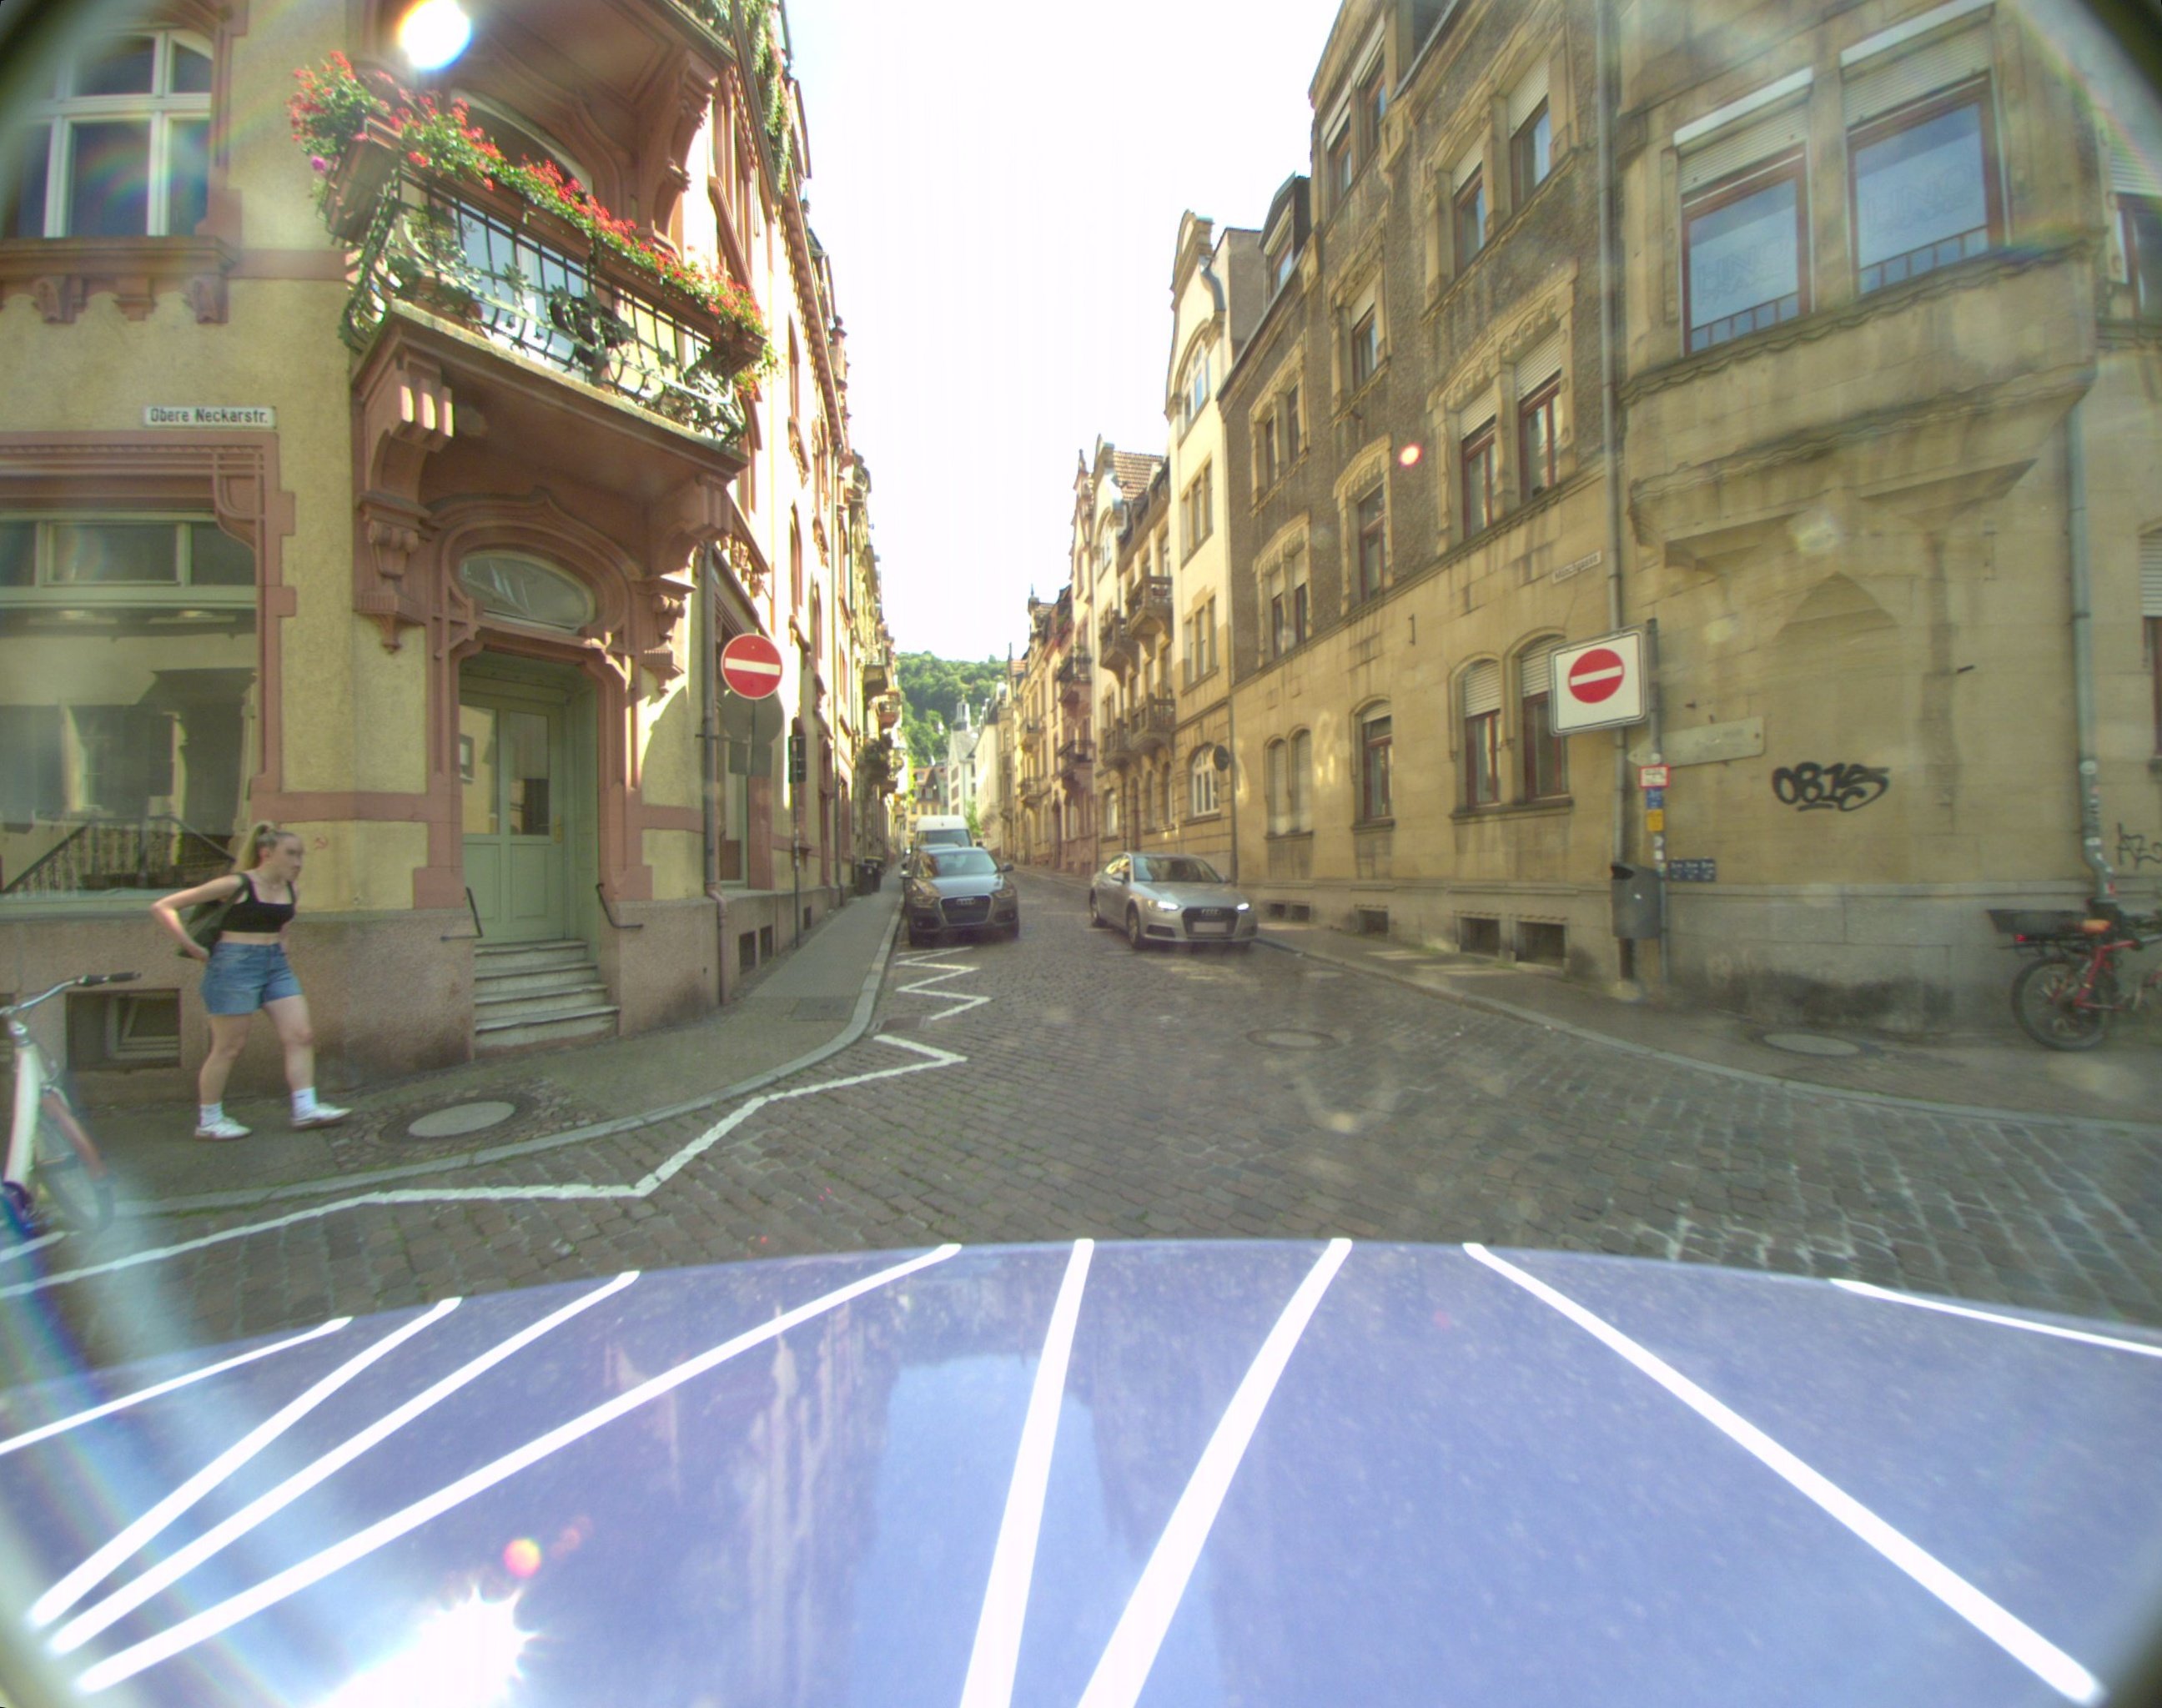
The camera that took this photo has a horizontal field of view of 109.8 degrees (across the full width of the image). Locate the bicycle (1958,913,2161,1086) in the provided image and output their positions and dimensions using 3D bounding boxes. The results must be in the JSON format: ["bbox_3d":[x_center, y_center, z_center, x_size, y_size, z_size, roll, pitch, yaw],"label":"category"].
[{"bbox_3d":[7.334,1.002,5.387,1.641,1.080,0.496,-1,4,-2],"label":"bicycle"}]

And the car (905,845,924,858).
[{"bbox_3d":[-22.871,-0.370,104.240,2.002,1.652,3.994,-1,0,-19],"label":"car"}]

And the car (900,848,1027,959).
[{"bbox_3d":[-2.258,0.734,13.756,1.863,1.574,4.254,-3,1,-13],"label":"car"}]

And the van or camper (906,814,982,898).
[{"bbox_3d":[-4.855,-0.041,26.250,2.227,2.506,6.758,-1,2,-12],"label":"van or camper"}]

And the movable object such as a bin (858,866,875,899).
[{"bbox_3d":[-6.274,0.828,22.249,0.440,0.952,0.349,-2,0,-11],"label":"movable object such as a bin"}]

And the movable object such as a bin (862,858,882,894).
[{"bbox_3d":[-6.425,0.686,23.390,0.517,1.083,0.421,-2,0,-11],"label":"movable object such as a bin"}]

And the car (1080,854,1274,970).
[{"bbox_3d":[1.340,0.784,12.558,1.877,1.484,4.378,-1,1,-11],"label":"car"}]

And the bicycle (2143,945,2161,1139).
[{"bbox_3d":[5.962,1.039,3.419,0.285,1.079,1.644,-5,-1,12],"label":"bicycle"}]

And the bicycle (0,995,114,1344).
[{"bbox_3d":[-4.311,1.239,2.796,0.506,1.139,1.788,-1,0,-38],"label":"bicycle"}]

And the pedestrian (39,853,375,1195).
[{"bbox_3d":[-4.848,0.895,4.289,0.980,1.749,0.623,-2,3,-3],"label":"pedestrian"}]

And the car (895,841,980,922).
[{"bbox_3d":[-3.583,0.568,18.964,1.762,1.696,3.995,-4,2,-11],"label":"car"}]
